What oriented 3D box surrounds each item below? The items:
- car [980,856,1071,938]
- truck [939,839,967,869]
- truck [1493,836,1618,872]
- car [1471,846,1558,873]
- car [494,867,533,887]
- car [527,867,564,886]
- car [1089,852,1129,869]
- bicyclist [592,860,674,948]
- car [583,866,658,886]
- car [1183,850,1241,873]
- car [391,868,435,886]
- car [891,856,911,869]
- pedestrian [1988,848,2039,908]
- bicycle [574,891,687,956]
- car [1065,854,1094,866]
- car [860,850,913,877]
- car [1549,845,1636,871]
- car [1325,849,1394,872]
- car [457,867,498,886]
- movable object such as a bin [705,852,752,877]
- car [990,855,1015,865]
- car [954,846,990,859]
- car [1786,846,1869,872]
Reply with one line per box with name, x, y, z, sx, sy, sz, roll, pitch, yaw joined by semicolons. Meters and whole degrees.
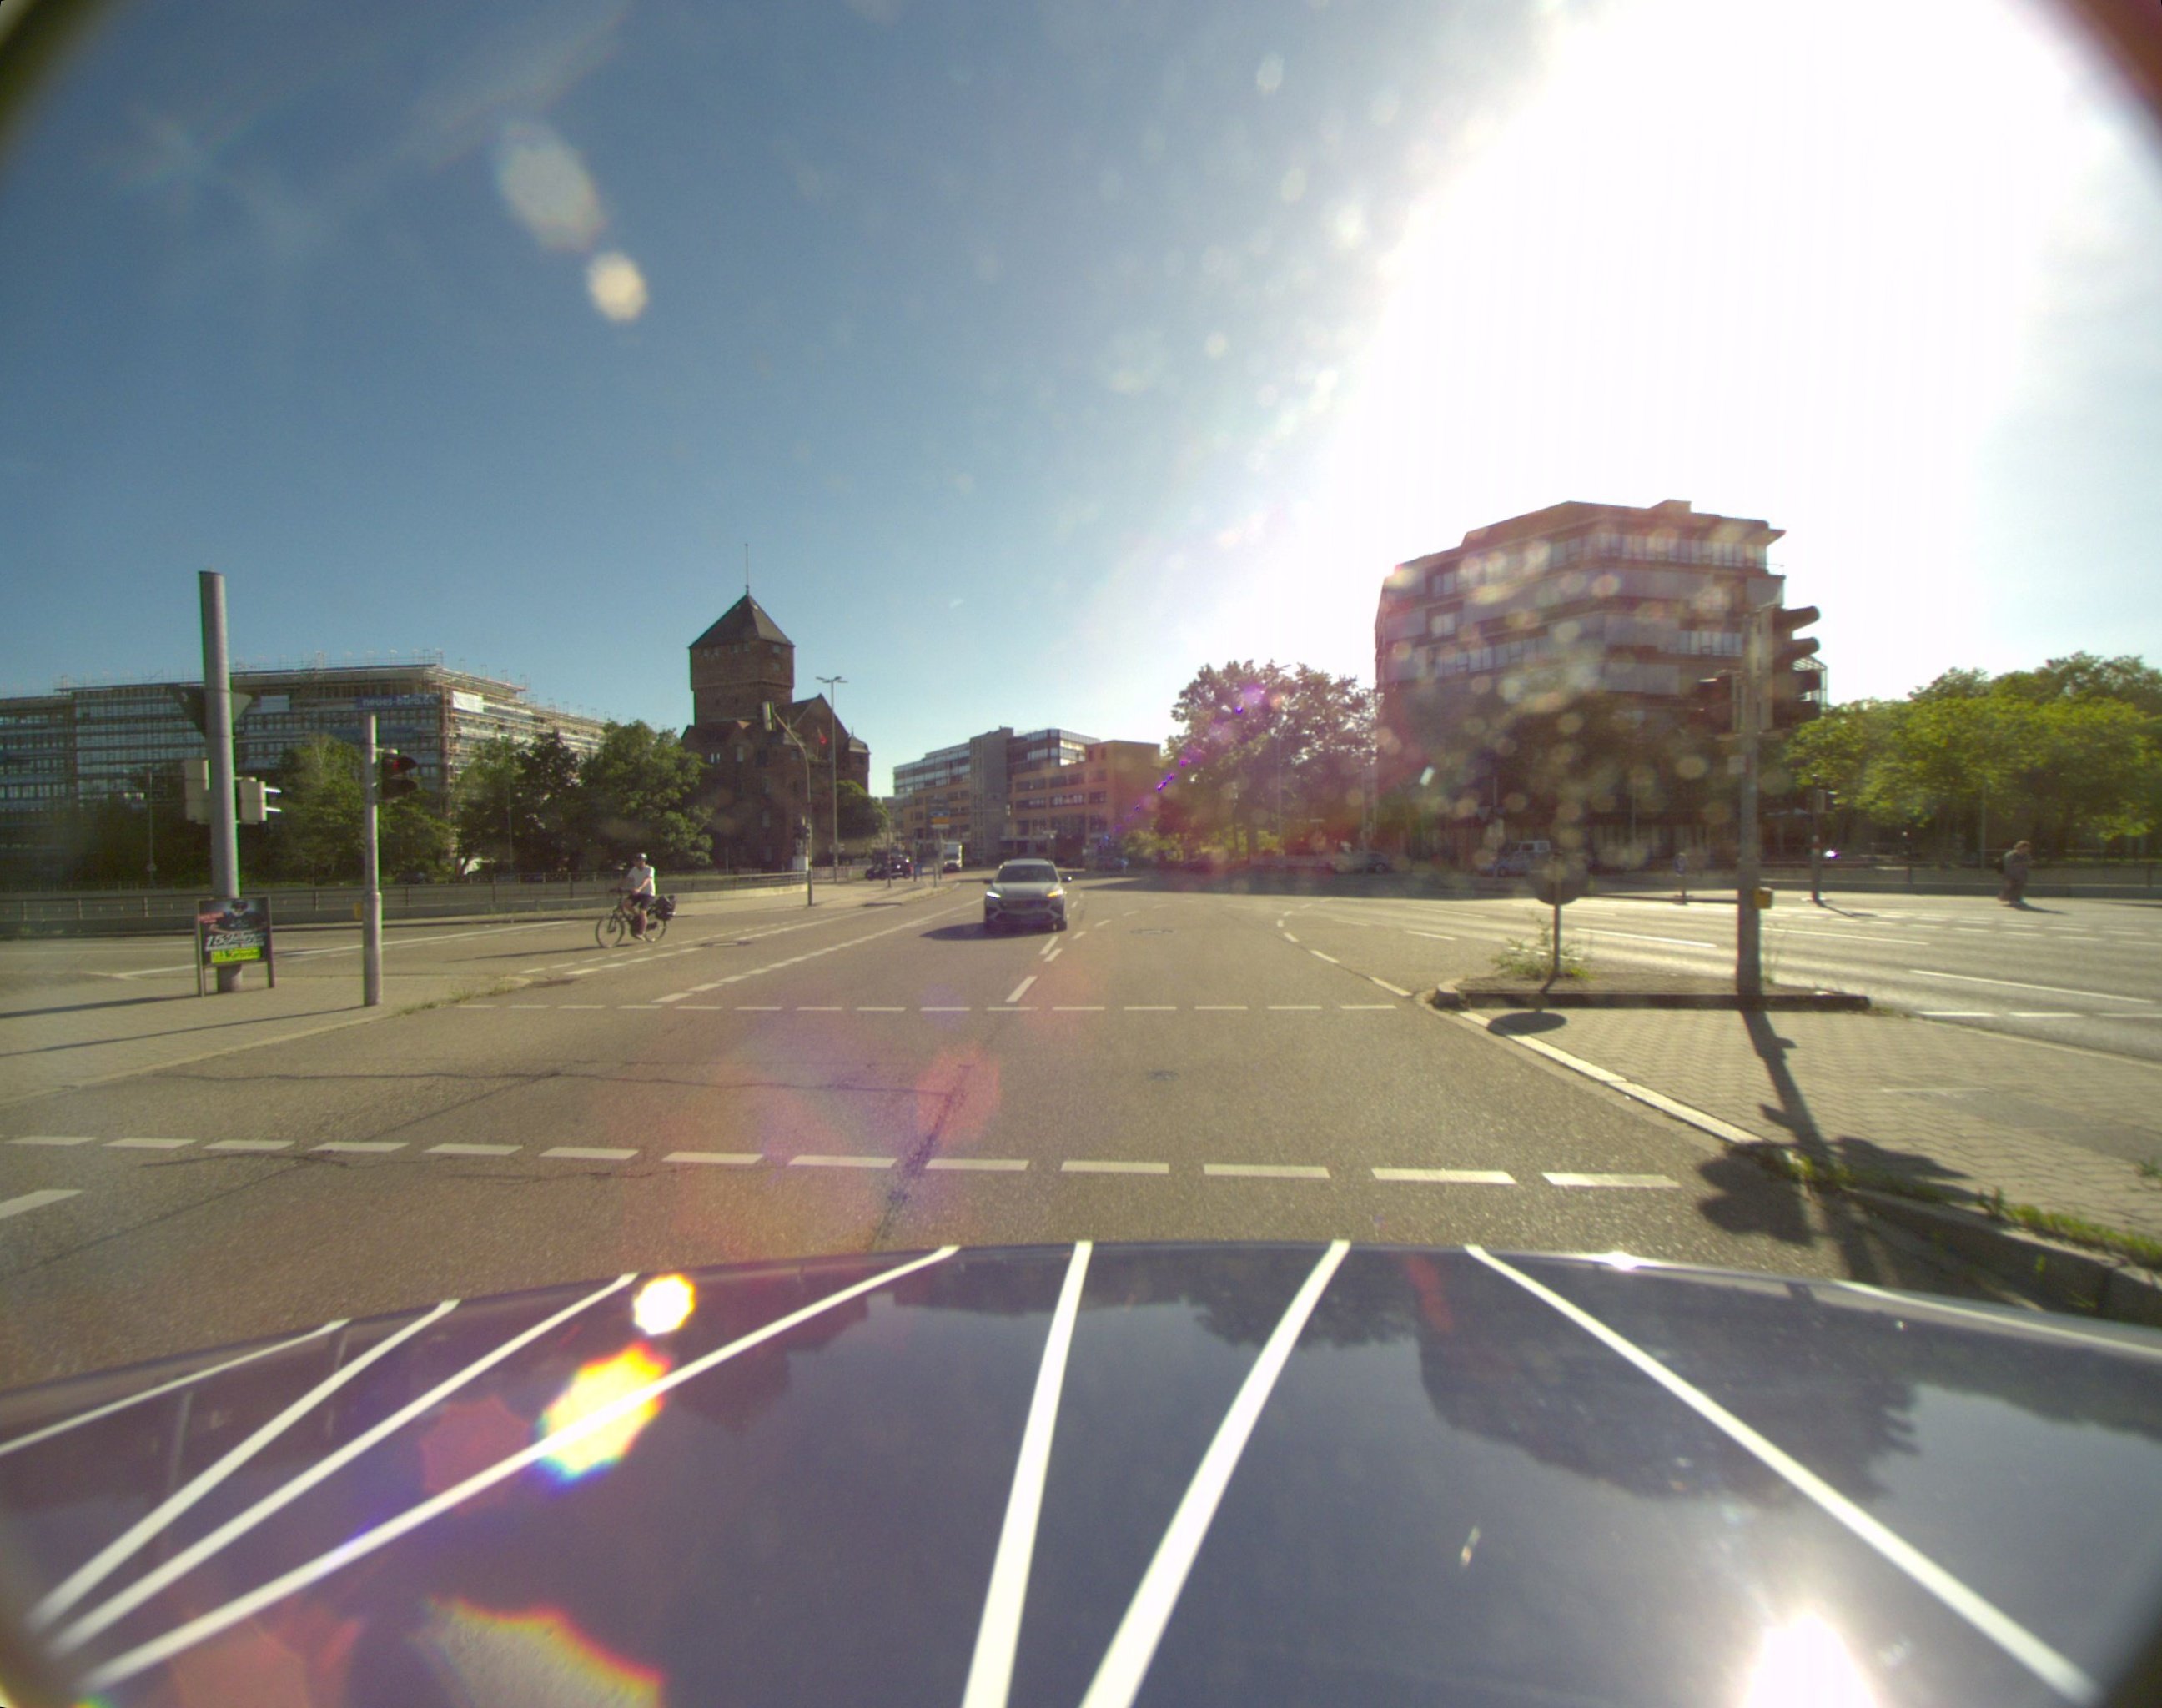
car;-1.242;0.913;18.074;1.879;1.612;4.195;-1;1;-2
truck;-14.037;-0.024;83.091;2.505;3.110;6.951;-1;1;-13
truck;34.263;0.000;55.026;7.506;2.346;2.164;-1;1;5
car;27.024;0.323;47.421;4.458;1.532;1.950;-1;1;-8
car;-49.713;2.004;66.638;2.002;1.552;3.774;-1;0;-25
car;-46.538;1.941;66.097;2.002;1.552;3.774;-1;0;-25
car;2.612;0.606;71.577;1.883;1.349;4.502;1;-4;-25
bicyclist;-8.885;0.968;15.111;0.725;1.650;1.114;-2;1;22
car;-36.008;1.702;59.467;4.632;1.462;1.880;-1;1;-1
car;10.400;0.603;60.403;4.185;1.690;1.818;-1;1;34
car;-60.867;2.090;69.285;2.002;1.445;3.774;-1;0;-25
car;-25.935;1.180;109.293;1.760;1.749;4.775;-1;1;-25
pedestrian;23.118;0.583;18.840;0.682;1.455;0.701;-2;1;-30
bicycle;-8.888;1.346;15.085;0.692;1.095;1.829;-2;1;22
car;-0.206;0.807;95.792;1.663;1.500;4.369;1;-2;-32
car;-17.253;0.825;67.734;1.947;2.248;4.793;-1;1;24
car;32.654;0.250;48.520;4.458;1.532;1.950;-1;1;-8
car;20.561;0.458;56.243;4.503;1.635;1.881;-1;1;8
car;-53.548;1.985;67.471;2.002;1.552;3.774;-1;0;-25
movable object such as a bin;-35.560;1.068;76.627;3.991;2.395;2.003;-1;1;20
car;-11.685;0.869;112.451;1.642;1.515;4.149;-2;1;-39
car;-13.871;-0.188;96.666;1.955;1.612;4.771;-2;1;-45
car;53.557;0.343;54.569;4.193;1.690;1.815;-1;1;1
